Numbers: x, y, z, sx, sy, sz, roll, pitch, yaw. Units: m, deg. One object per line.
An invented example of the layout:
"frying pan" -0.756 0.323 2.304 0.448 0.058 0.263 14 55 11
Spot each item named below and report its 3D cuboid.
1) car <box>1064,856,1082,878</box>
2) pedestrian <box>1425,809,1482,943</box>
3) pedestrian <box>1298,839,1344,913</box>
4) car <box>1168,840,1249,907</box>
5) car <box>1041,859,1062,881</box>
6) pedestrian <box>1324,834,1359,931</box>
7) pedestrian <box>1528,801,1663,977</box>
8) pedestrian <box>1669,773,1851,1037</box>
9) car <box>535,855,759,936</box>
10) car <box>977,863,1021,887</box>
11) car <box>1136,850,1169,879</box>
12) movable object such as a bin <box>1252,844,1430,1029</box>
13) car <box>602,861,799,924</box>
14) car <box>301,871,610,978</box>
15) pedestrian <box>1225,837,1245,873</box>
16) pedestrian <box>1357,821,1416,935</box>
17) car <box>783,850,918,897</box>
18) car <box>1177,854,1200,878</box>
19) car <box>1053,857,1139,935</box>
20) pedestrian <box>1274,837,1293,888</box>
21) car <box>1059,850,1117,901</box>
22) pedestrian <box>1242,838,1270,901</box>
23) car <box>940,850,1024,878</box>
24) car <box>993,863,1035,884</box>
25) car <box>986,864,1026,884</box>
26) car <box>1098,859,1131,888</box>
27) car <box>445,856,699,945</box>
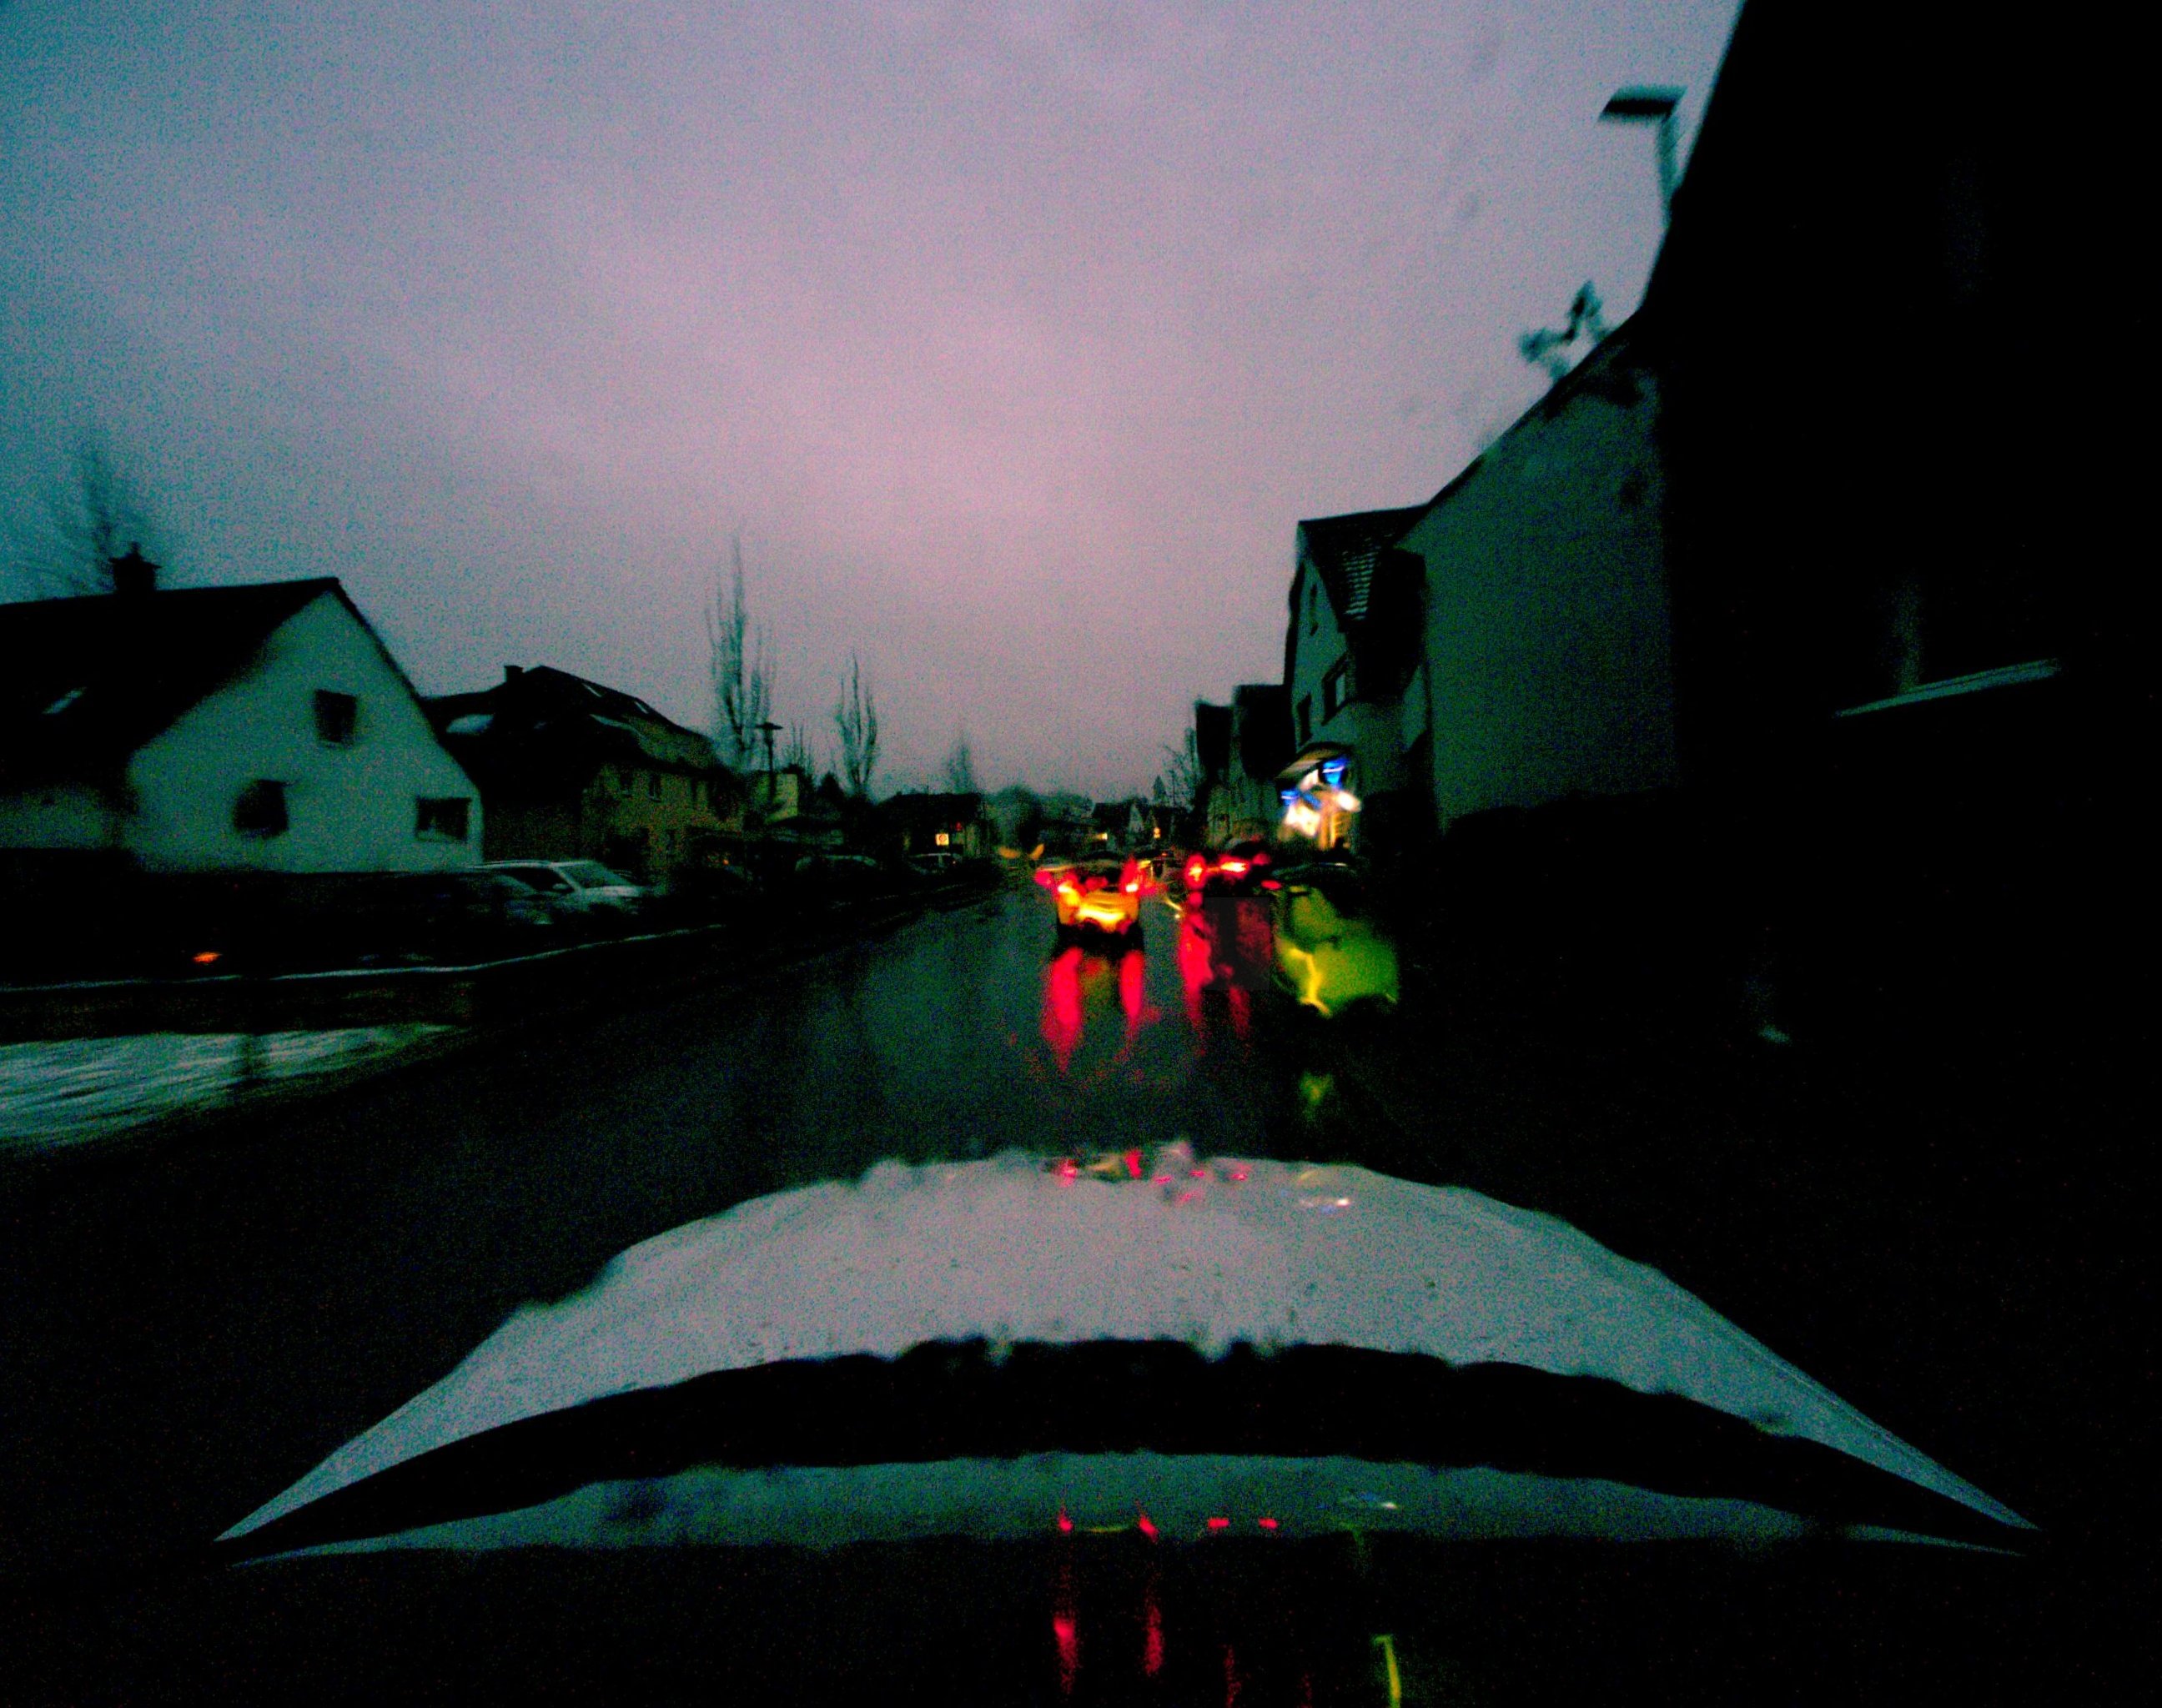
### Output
"car" -0.835 1.456 86.546 1.913 2.216 3.974 0 -3 0
"pedestrian" 5.207 0.297 11.411 0.525 1.800 0.867 -1 0 12
"pedestrian" 5.425 0.475 18.452 0.618 1.626 0.903 -2 1 -11
"car" 3.589 0.535 23.606 1.729 1.692 4.387 -2 -1 1
"car" -2.836 1.580 78.605 1.913 2.028 3.974 0 -3 0
"pedestrian" 4.577 0.485 14.339 0.476 1.630 1.023 -3 0 16
"pedestrian" 5.291 0.340 8.444 0.743 1.679 1.054 -3 0 8
"pedestrian" 4.632 0.337 5.628 0.525 1.653 0.957 -1 -3 12
"car" -9.409 0.883 17.798 4.073 1.608 1.589 -1 -1 5
"car" -8.043 2.116 79.449 2.011 2.252 4.332 2 -4 -44
"car" 4.834 0.732 55.565 1.990 1.865 4.085 -1 -1 2
"movable object such as a bin" 2.259 0.665 7.329 1.124 1.420 1.419 -5 0 4
"car" -9.639 0.989 20.847 4.109 1.498 1.881 -1 -3 4
"car" -9.397 1.028 12.432 3.432 1.372 1.601 -2 -1 1
"pedestrian" 6.559 0.036 34.699 0.618 1.515 0.731 -2 1 -11
"pedestrian" 4.832 0.364 12.927 0.707 1.715 1.039 -3 0 15
"car" -8.835 0.755 31.516 4.611 1.667 1.999 -1 -1 -1
"car" 10.555 1.249 80.278 1.985 2.249 4.003 -1 -3 4
"car" 0.329 0.766 16.257 1.557 1.412 3.019 0 0 2
"pedestrian" 6.996 0.304 28.125 0.614 1.727 0.503 -1 -3 14
"car" 0.310 0.704 28.031 1.758 1.628 3.589 0 0 4
"pedestrian" 4.895 0.431 22.870 0.570 1.699 0.653 -4 -1 3
"car" -6.680 0.658 54.864 5.356 1.817 1.719 0 -1 15
"car" -7.050 2.079 85.411 2.011 2.167 4.332 2 -4 -44
"car" -7.650 2.027 82.858 1.833 1.976 4.117 2 -4 -44
"car" 1.620 0.918 39.549 1.535 1.331 3.313 0 0 2
"car" -9.428 0.842 15.225 3.772 1.523 1.719 -1 -1 8
